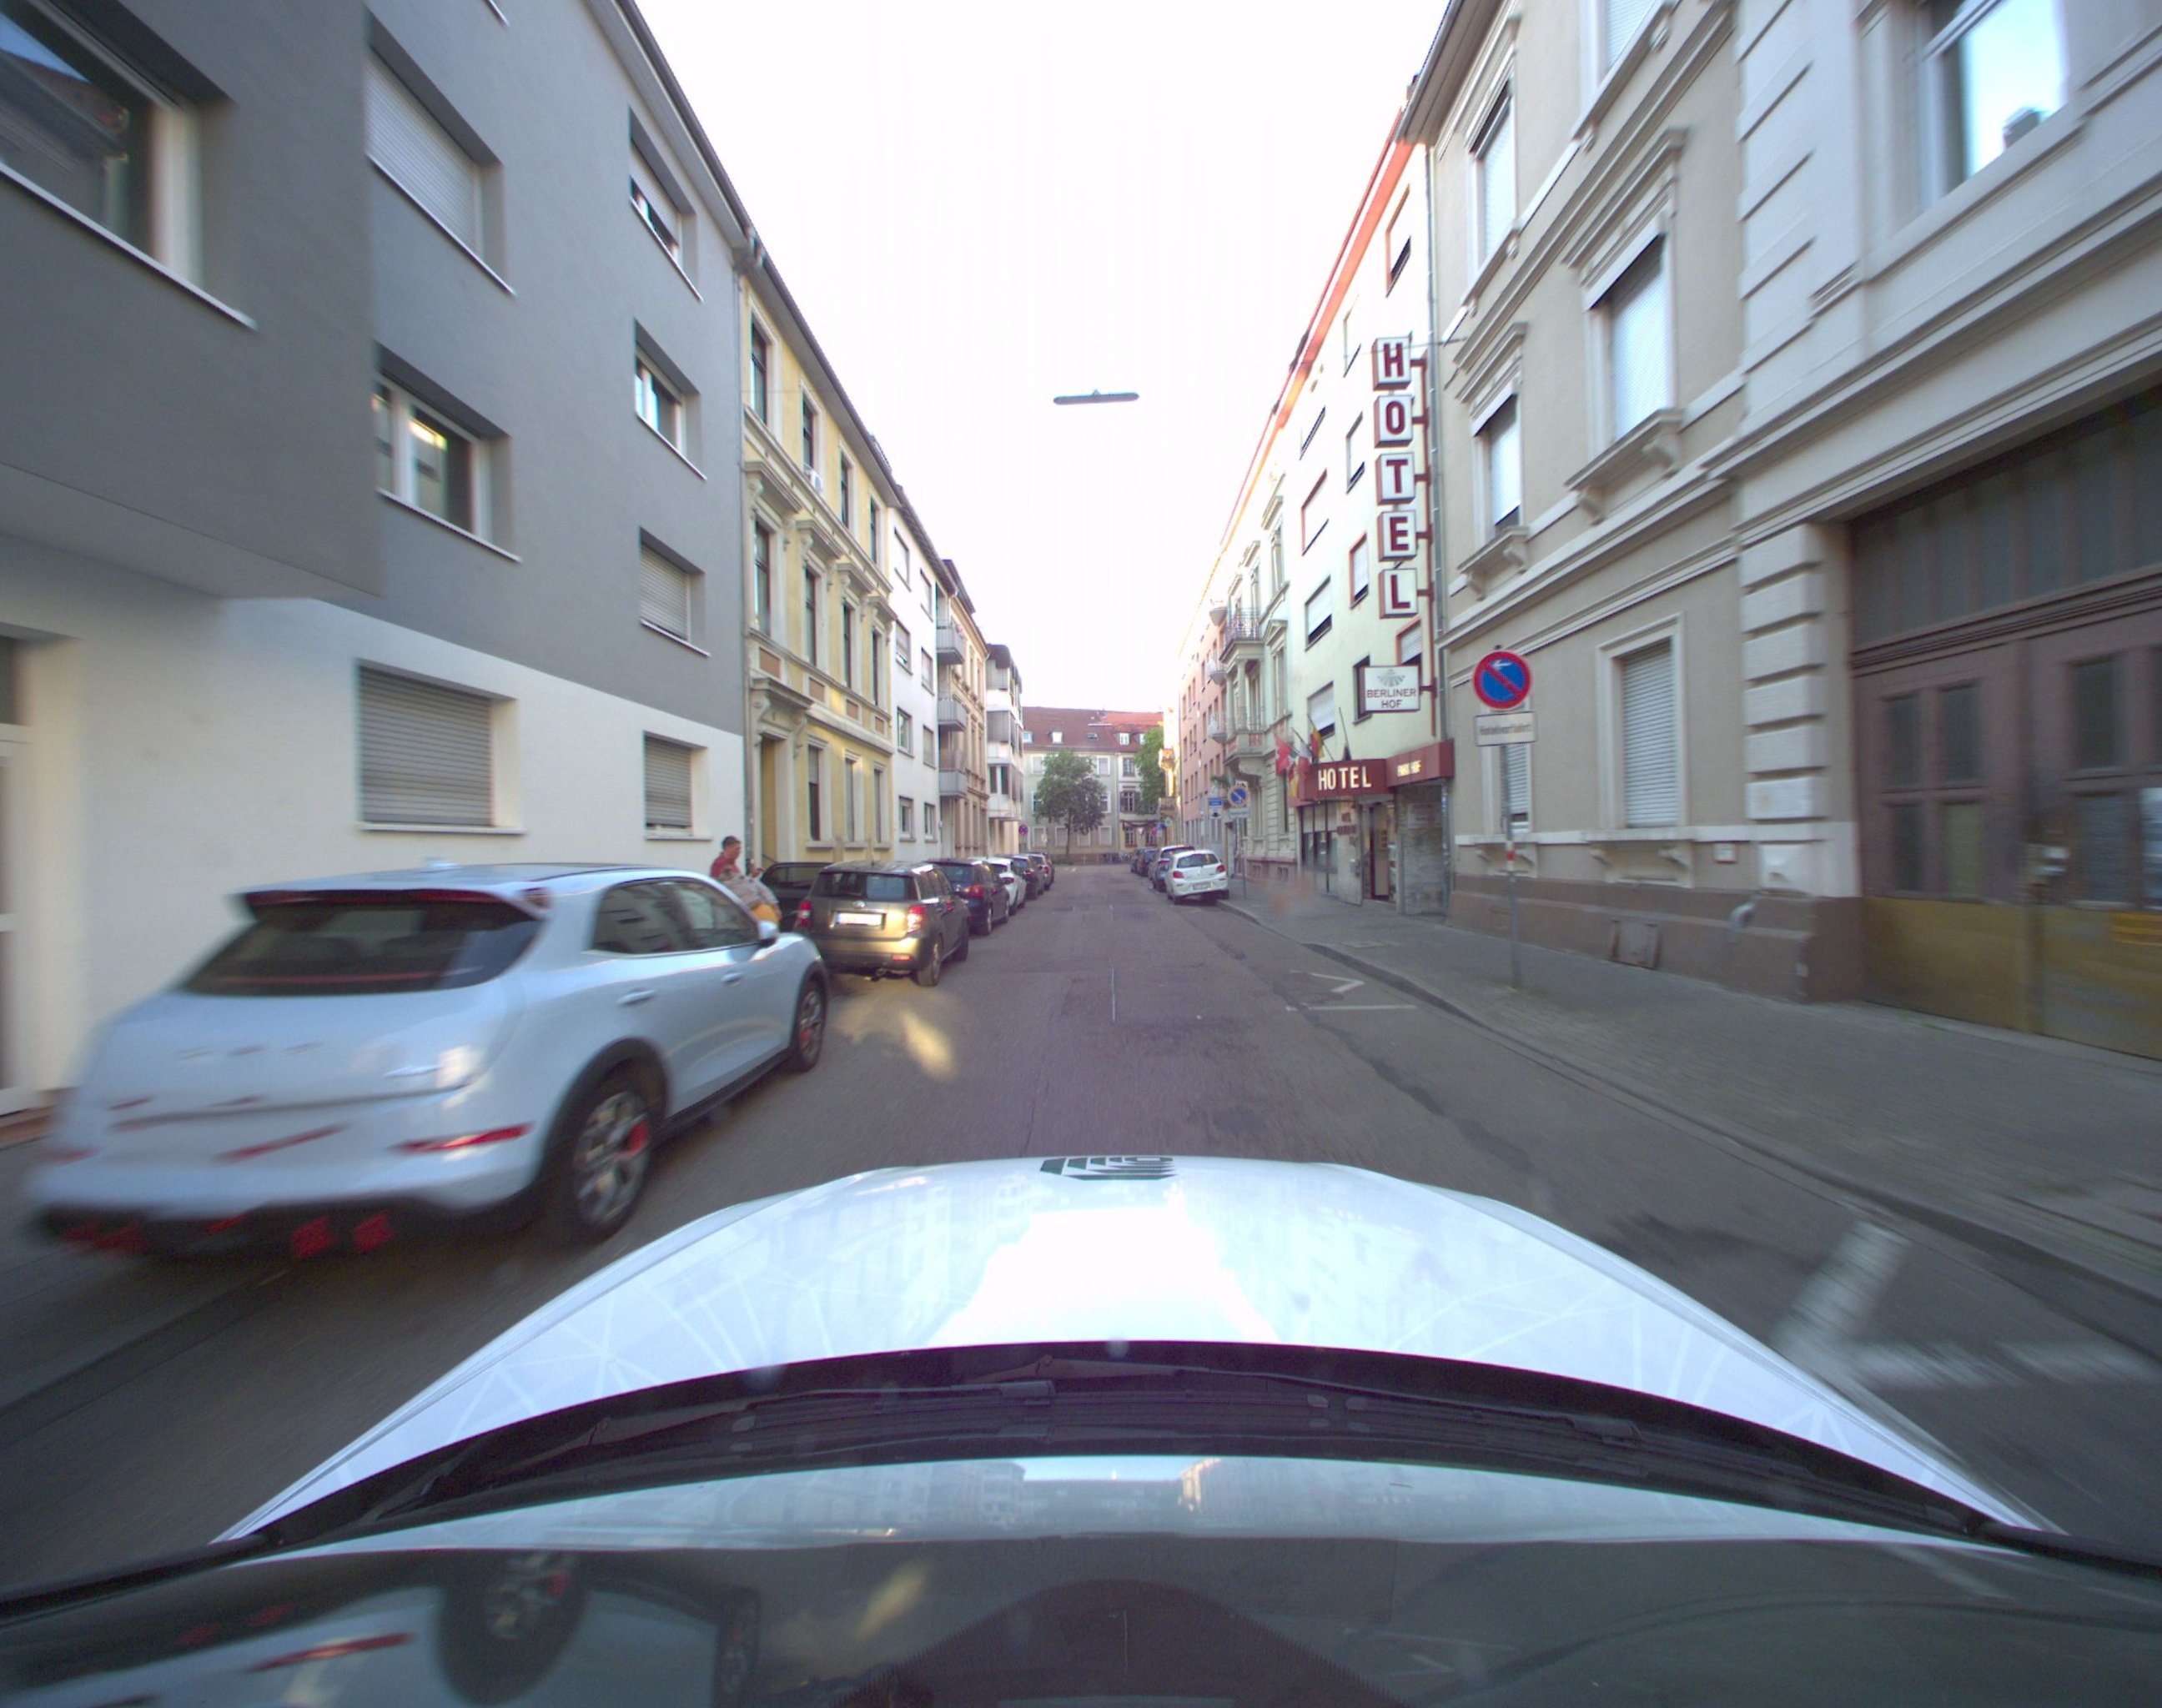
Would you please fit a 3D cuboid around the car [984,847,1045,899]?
[{"bbox_3d":[-2.232,0.596,28.219,1.609,1.570,4.305,-2,1,1],"label":"car"}]

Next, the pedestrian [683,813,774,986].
[{"bbox_3d":[-4.298,0.527,9.983,0.797,2.013,0.773,-2,0,-9],"label":"pedestrian"}]

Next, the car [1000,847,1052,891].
[{"bbox_3d":[-2.228,0.574,34.305,1.988,1.666,4.406,-2,0,-2],"label":"car"}]

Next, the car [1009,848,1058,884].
[{"bbox_3d":[-2.326,0.552,40.559,1.986,1.662,3.980,-2,0,2],"label":"car"}]

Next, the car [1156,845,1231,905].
[{"bbox_3d":[3.322,0.556,24.675,1.656,1.458,3.760,-8,1,1],"label":"car"}]

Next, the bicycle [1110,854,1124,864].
[{"bbox_3d":[3.679,0.506,82.299,0.521,0.894,1.708,-3,3,-31],"label":"bicycle"}]

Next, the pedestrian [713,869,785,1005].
[{"bbox_3d":[-3.714,0.891,9.105,0.663,1.410,0.666,-2,0,-27],"label":"pedestrian"}]

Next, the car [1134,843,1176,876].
[{"bbox_3d":[4.205,0.279,46.714,1.987,1.708,4.000,-2,0,0],"label":"car"}]

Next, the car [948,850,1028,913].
[{"bbox_3d":[-2.441,0.678,22.171,1.624,1.472,3.756,-2,1,1],"label":"car"}]

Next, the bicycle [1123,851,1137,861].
[{"bbox_3d":[4.947,0.214,82.886,0.521,0.949,1.708,-2,0,-32],"label":"bicycle"}]

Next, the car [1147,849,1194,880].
[{"bbox_3d":[4.275,0.468,39.575,1.986,1.384,3.709,-2,0,2],"label":"car"}]

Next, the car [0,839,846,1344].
[{"bbox_3d":[-2.847,0.736,4.872,1.759,1.563,4.362,-2,1,-3],"label":"car"}]

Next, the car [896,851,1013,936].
[{"bbox_3d":[-2.527,0.731,17.145,1.722,1.509,3.832,-2,1,1],"label":"car"}]

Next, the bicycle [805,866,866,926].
[{"bbox_3d":[-5.148,0.852,17.209,0.532,1.118,2.131,-2,0,2],"label":"bicycle"}]

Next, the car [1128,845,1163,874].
[{"bbox_3d":[4.065,0.321,51.749,1.986,1.761,4.002,-2,0,2],"label":"car"}]

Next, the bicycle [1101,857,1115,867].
[{"bbox_3d":[2.785,0.817,83.763,0.521,0.949,1.708,-1,0,-31],"label":"bicycle"}]

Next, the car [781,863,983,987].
[{"bbox_3d":[-2.507,0.831,11.307,1.677,1.332,4.132,-2,0,1],"label":"car"}]

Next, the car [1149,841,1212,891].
[{"bbox_3d":[3.723,0.402,31.138,1.986,1.732,4.061,-2,0,2],"label":"car"}]
